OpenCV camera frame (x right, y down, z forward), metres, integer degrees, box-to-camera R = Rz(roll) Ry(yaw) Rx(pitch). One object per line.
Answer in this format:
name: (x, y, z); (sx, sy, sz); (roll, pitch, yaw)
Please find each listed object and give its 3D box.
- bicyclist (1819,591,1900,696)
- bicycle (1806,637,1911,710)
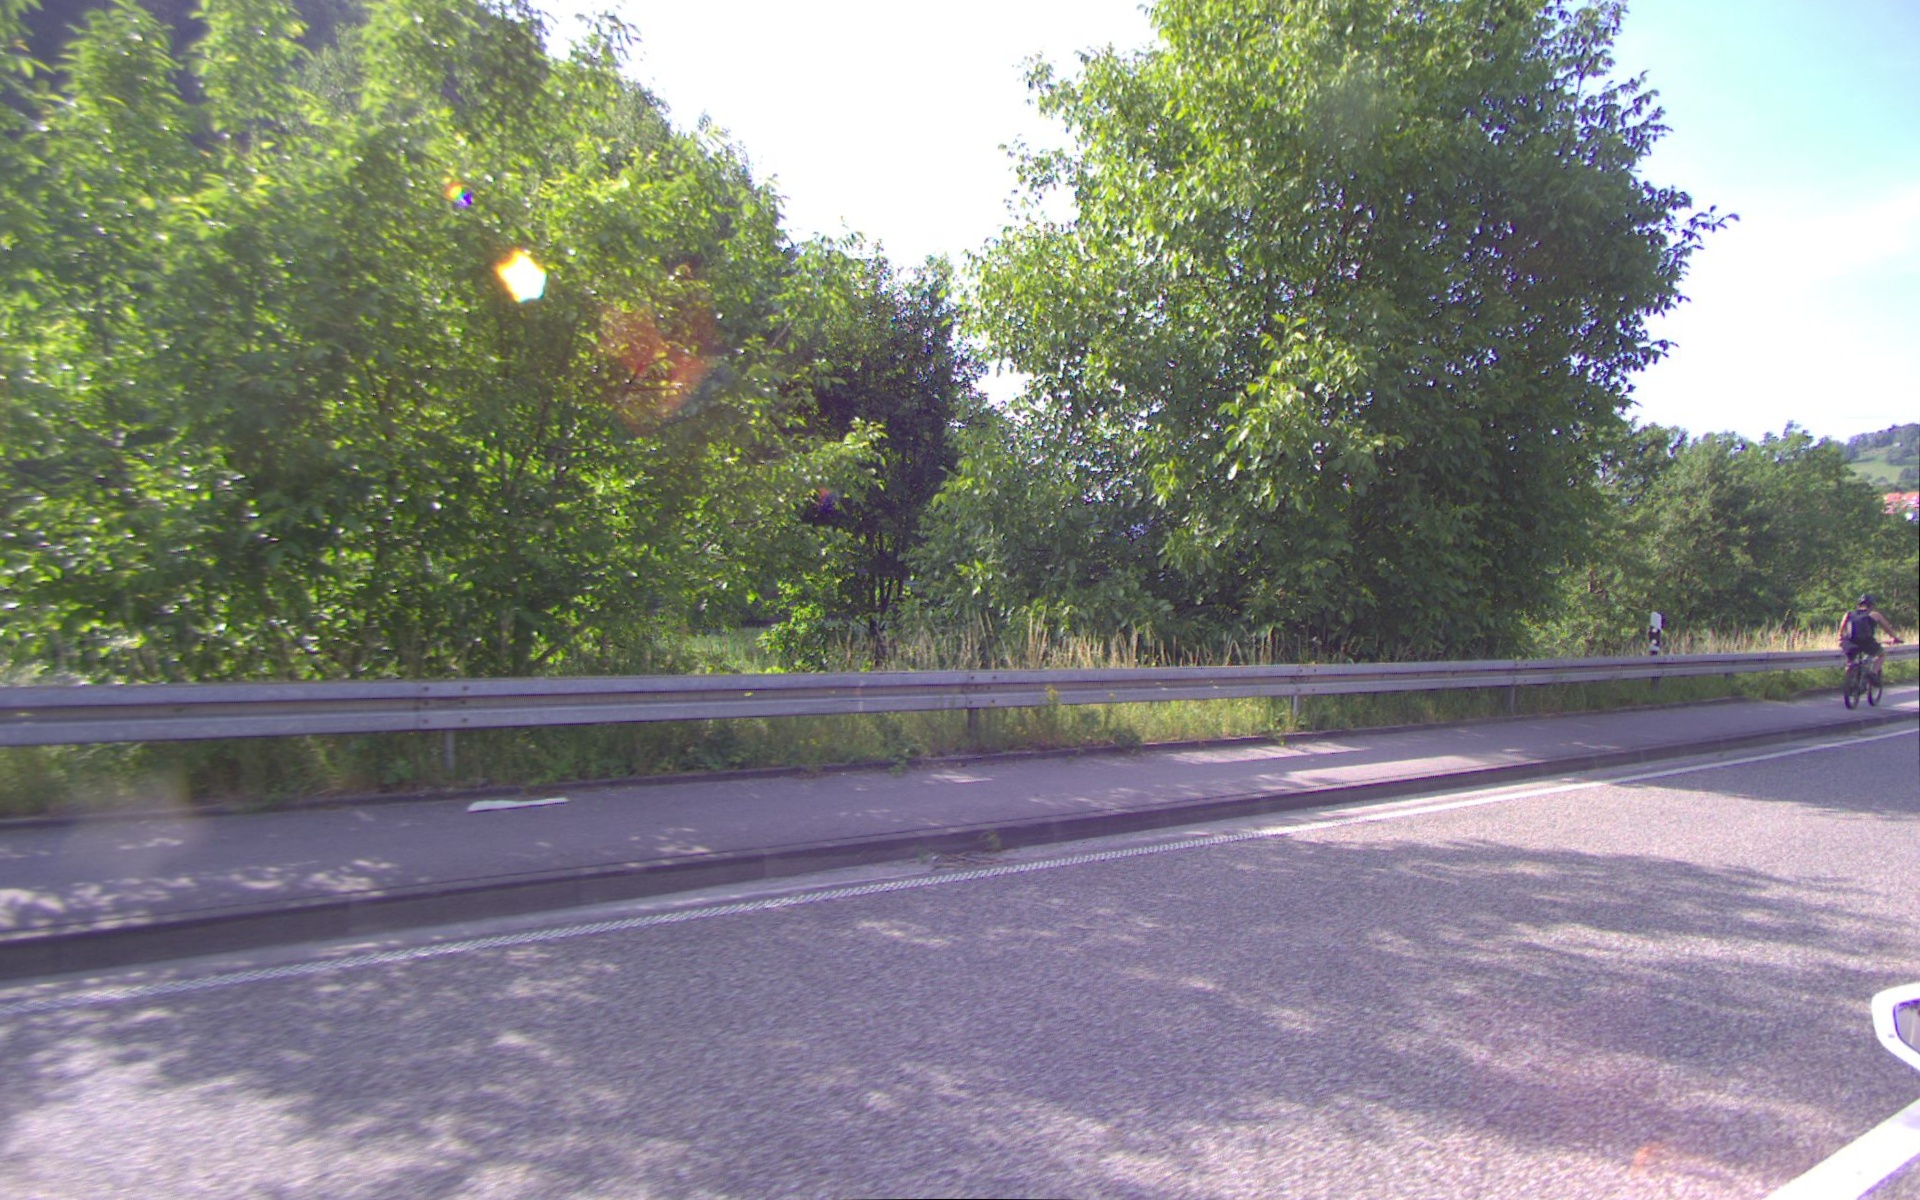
bicyclist: (14.543, 0.691, 16.239); (1.023, 1.608, 0.554); (1, 5, -30)
bicycle: (14.689, 1.173, 16.405); (2.203, 1.060, 0.554); (1, 5, -30)
